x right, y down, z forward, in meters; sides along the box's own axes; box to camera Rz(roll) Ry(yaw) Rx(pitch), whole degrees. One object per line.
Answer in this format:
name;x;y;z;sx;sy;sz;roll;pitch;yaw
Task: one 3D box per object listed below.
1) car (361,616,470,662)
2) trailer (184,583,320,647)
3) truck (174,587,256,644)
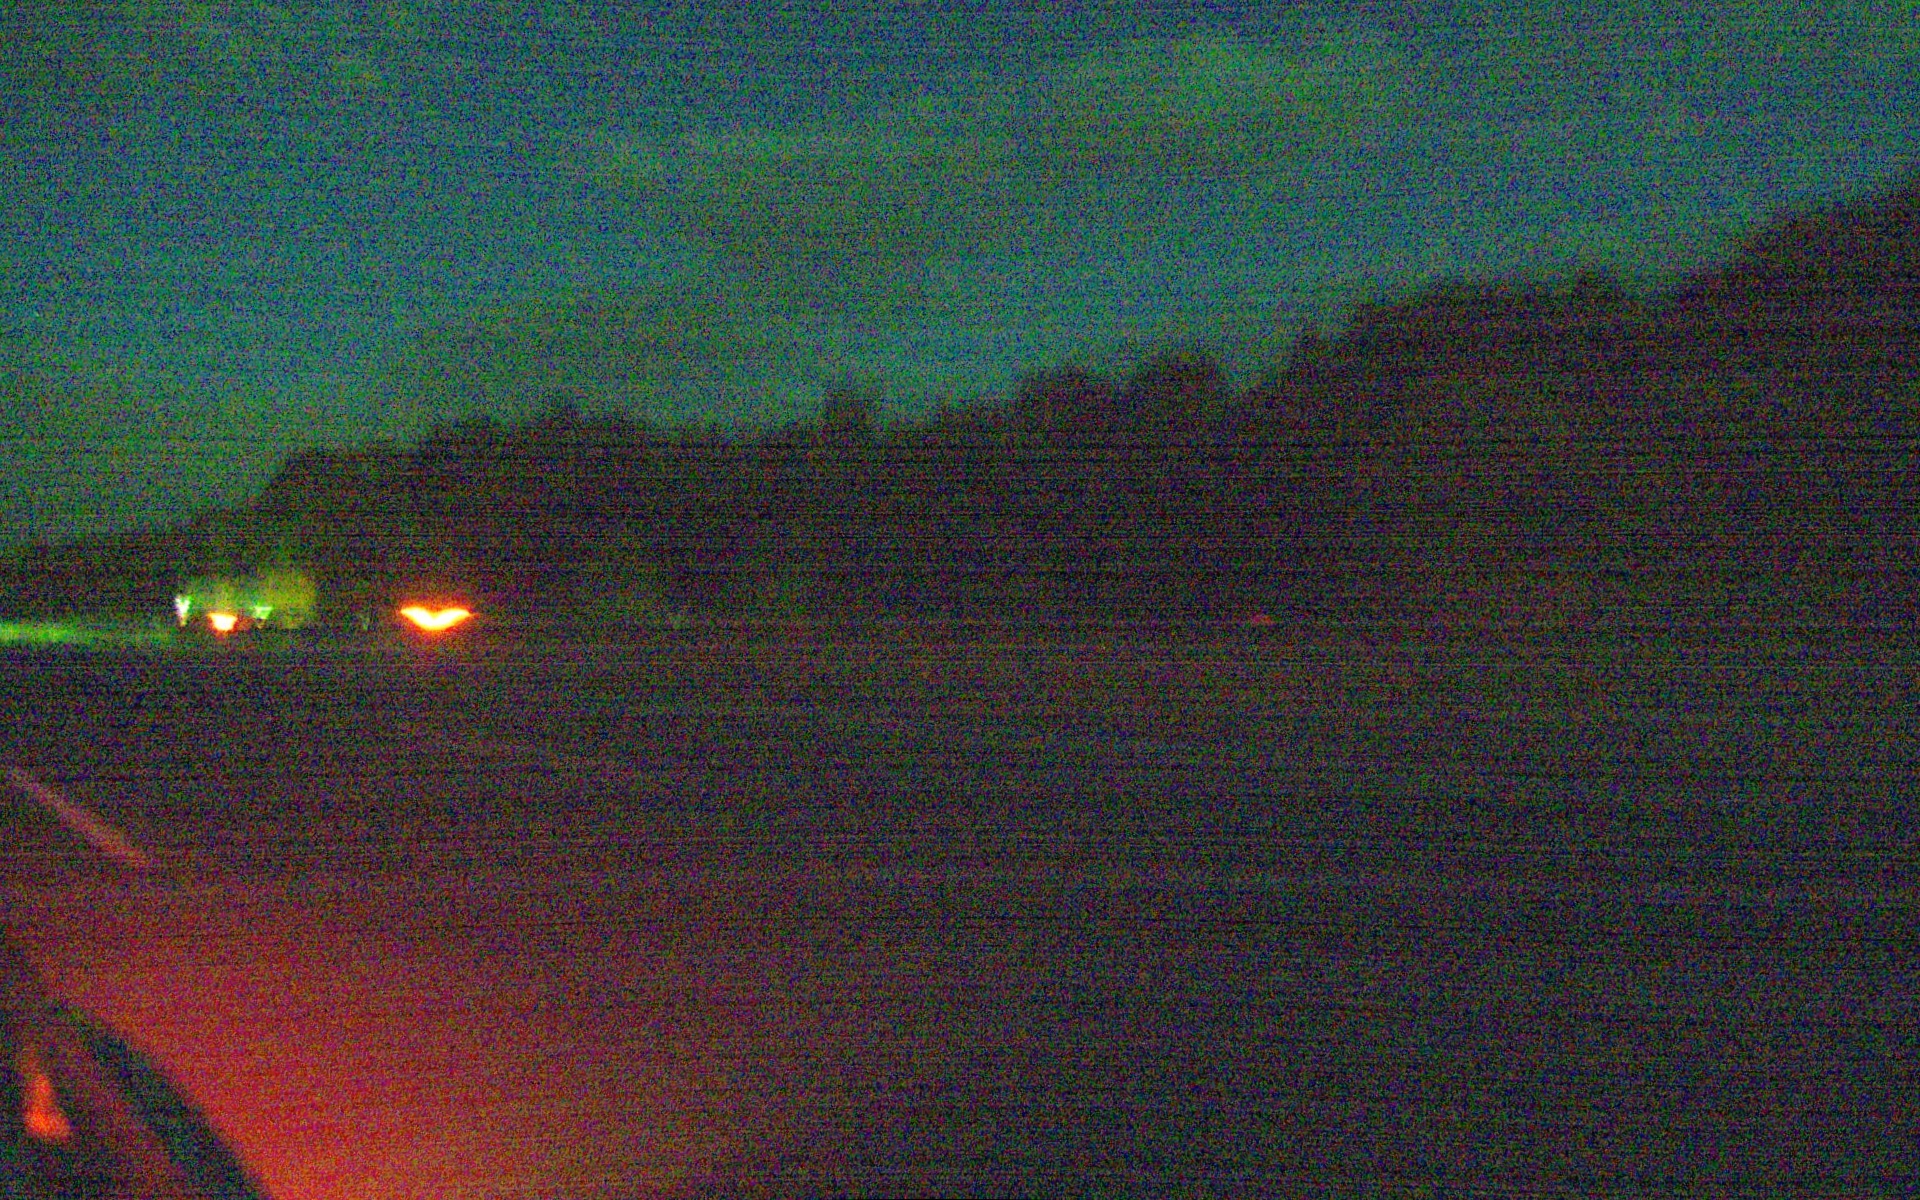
car;-19.303;1.335;35.803;4.397;1.479;1.973;-1;0;41
trailer;-49.754;1.011;70.682;17.269;4.030;3.507;-1;-1;40
truck;-55.749;1.141;75.664;6.693;4.000;3.467;-1;-1;40
